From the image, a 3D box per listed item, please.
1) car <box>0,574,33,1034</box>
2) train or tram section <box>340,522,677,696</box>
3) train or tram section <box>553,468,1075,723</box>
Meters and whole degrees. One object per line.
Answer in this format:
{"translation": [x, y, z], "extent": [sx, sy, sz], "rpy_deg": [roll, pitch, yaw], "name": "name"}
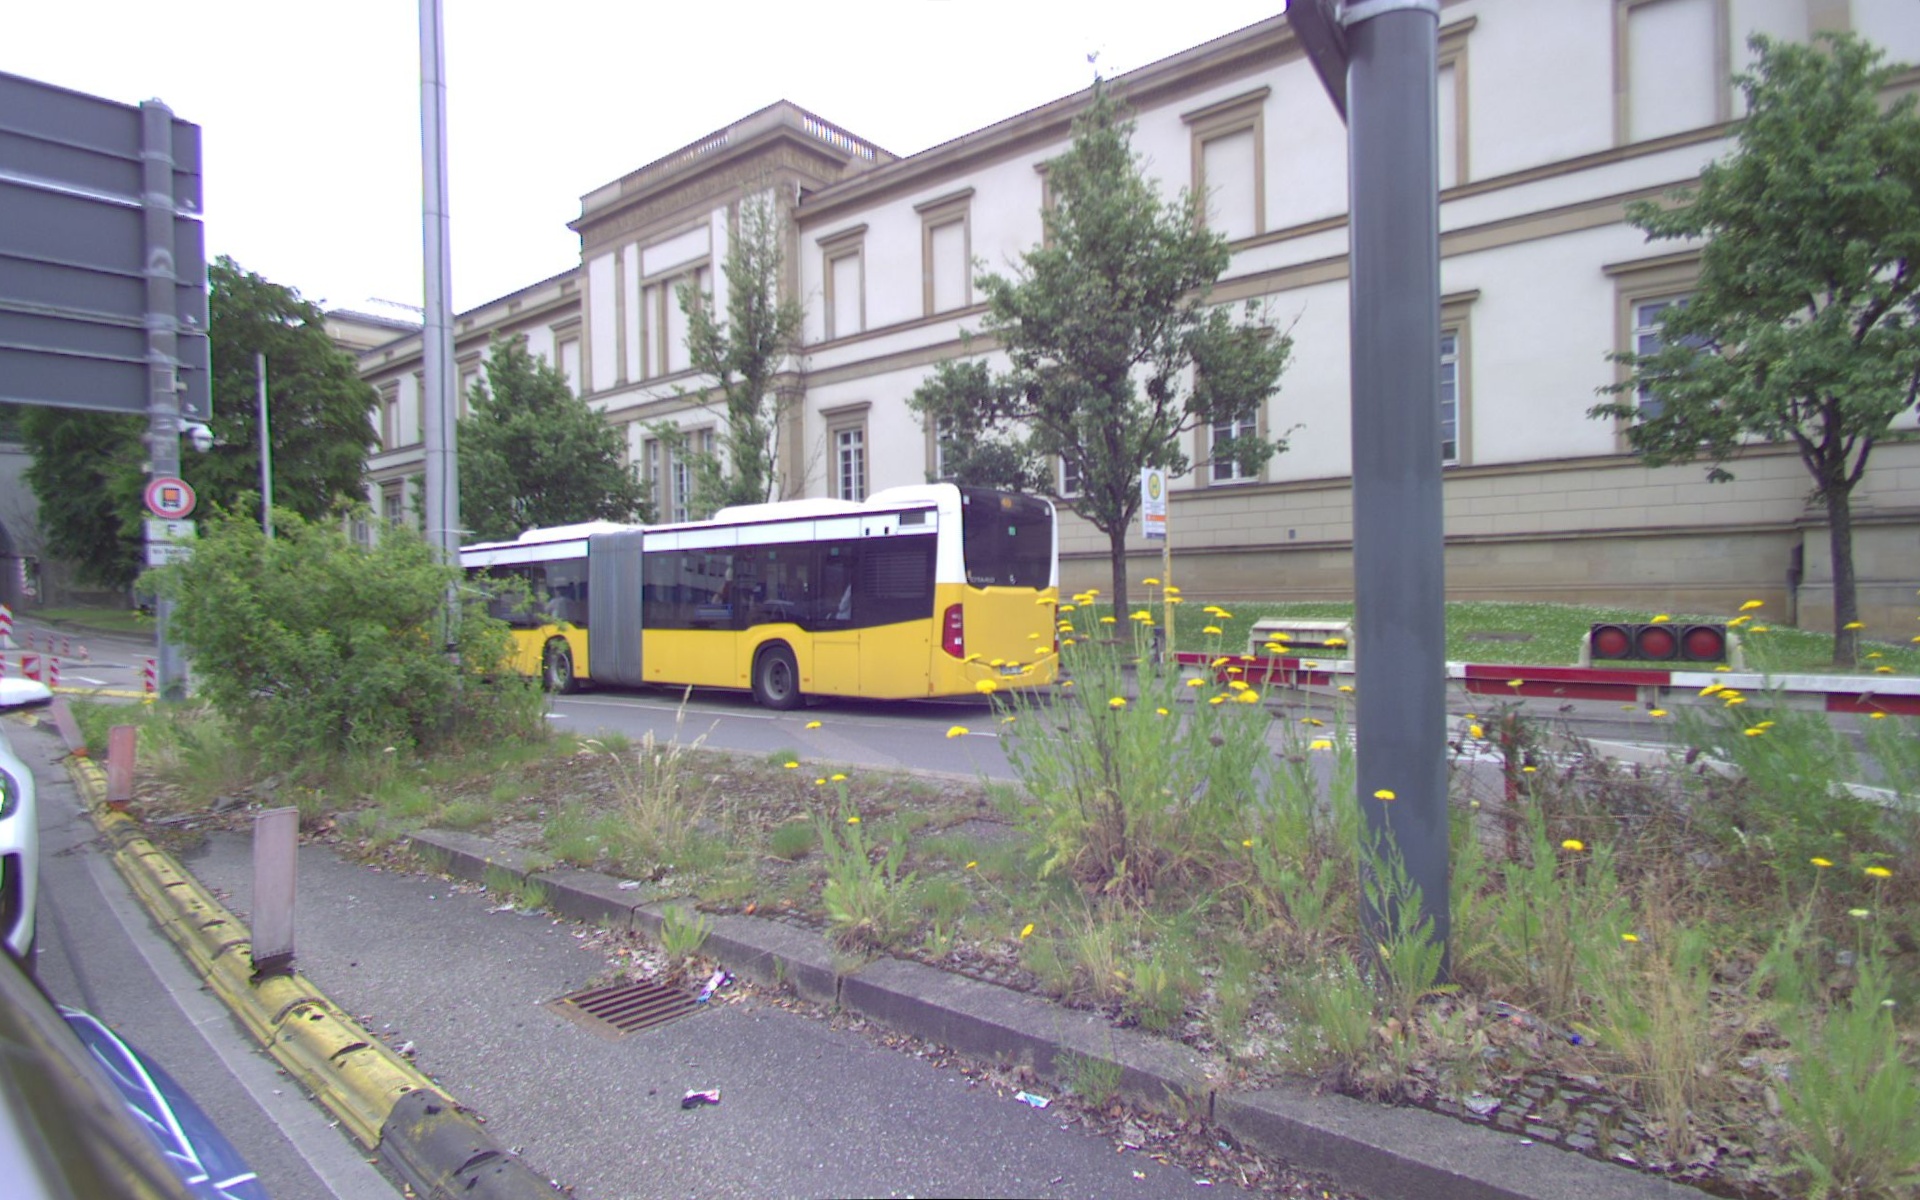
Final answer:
{"translation": [-5.235, 0.720, 4.208], "extent": [3.911, 1.568, 1.733], "rpy_deg": [-1, 0, 43], "name": "car"}
{"translation": [-10.140, 0.271, 22.037], "extent": [9.363, 3.094, 2.668], "rpy_deg": [-1, -2, 38], "name": "train or tram section"}
{"translation": [-2.826, 0.053, 16.254], "extent": [9.325, 3.094, 2.667], "rpy_deg": [-1, -2, 39], "name": "train or tram section"}
